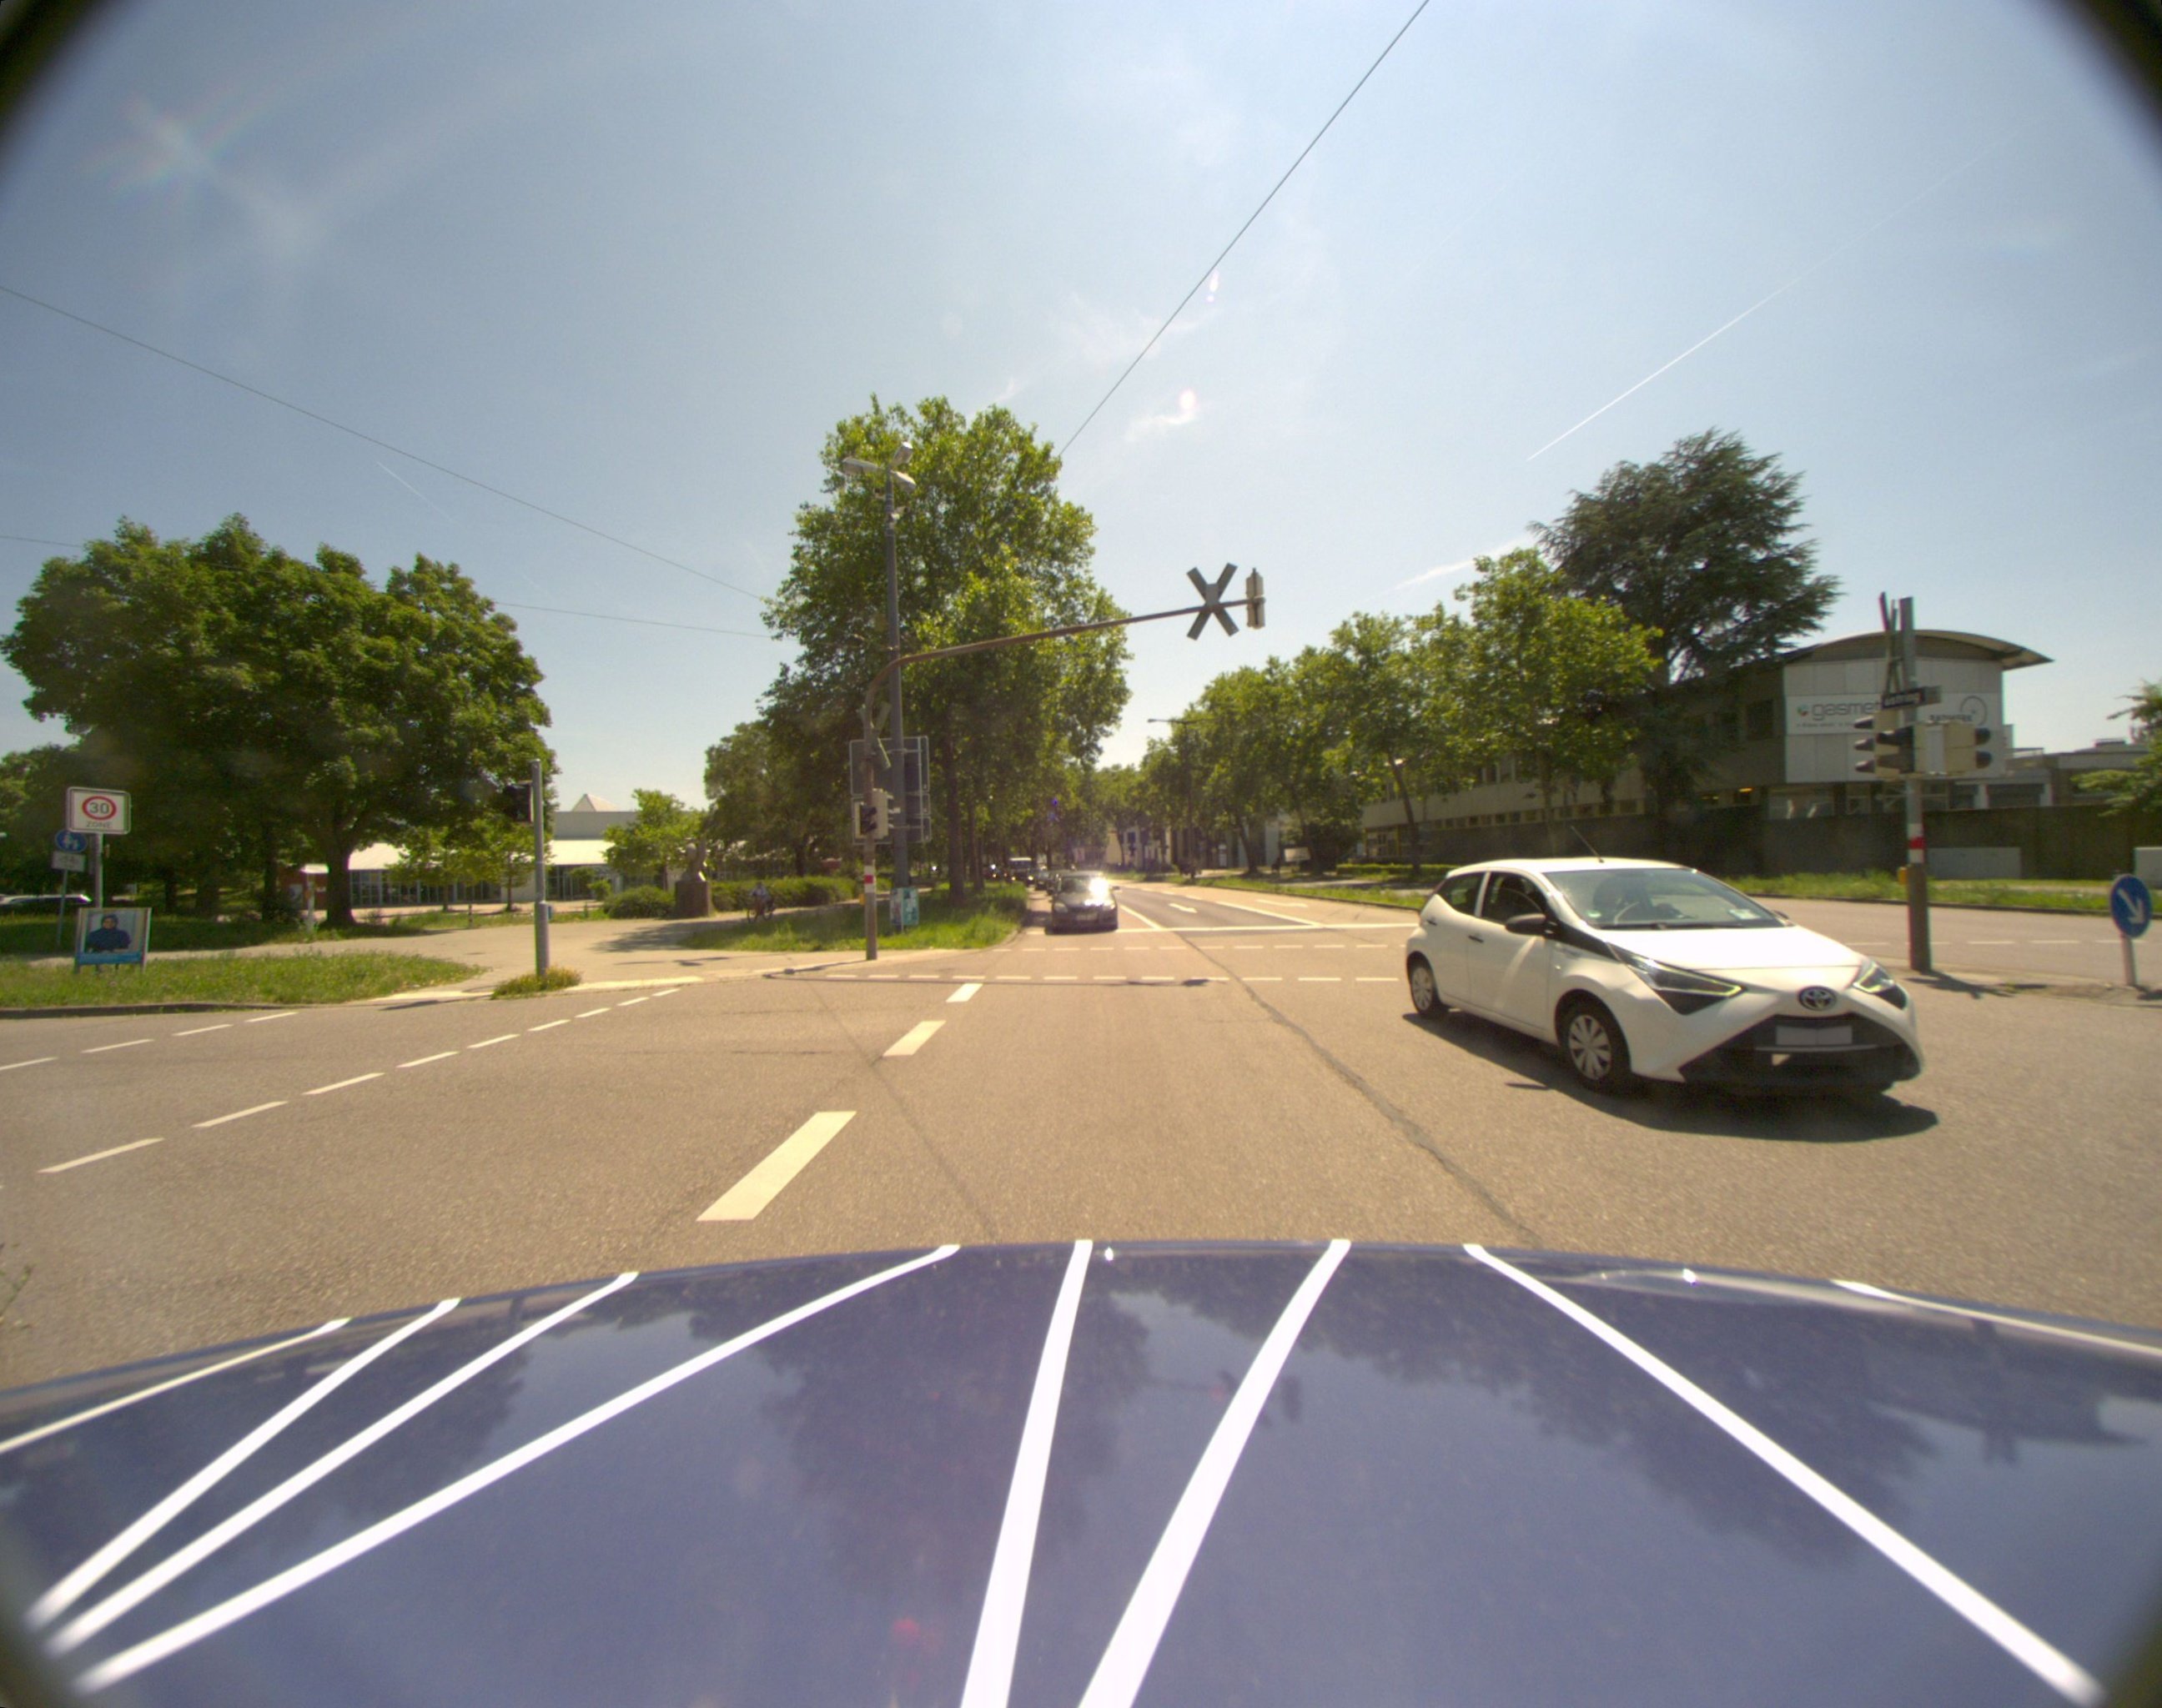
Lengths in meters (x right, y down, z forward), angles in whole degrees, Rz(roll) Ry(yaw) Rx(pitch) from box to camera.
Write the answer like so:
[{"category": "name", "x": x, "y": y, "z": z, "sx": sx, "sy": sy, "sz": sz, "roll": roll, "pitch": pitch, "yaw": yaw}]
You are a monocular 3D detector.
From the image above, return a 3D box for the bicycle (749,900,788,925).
[{"category": "bicycle", "x": -11.211, "y": 2.096, "z": 27.305, "sx": 0.464, "sy": 0.759, "sz": 1.670, "roll": -2, "pitch": -1, "yaw": 10}]

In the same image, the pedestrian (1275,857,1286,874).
[{"category": "pedestrian", "x": 18.062, "y": 1.030, "z": 68.940, "sx": 0.644, "sy": 1.551, "sz": 0.790, "roll": -2, "pitch": 0, "yaw": -11}]

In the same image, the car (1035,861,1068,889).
[{"category": "car", "x": -2.142, "y": 1.450, "z": 54.165, "sx": 2.000, "sy": 1.870, "sz": 3.998, "roll": -2, "pitch": 0, "yaw": -7}]

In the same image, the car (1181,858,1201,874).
[{"category": "car", "x": 11.810, "y": 1.259, "z": 81.172, "sx": 1.914, "sy": 1.669, "sz": 4.448, "roll": -2, "pitch": 0, "yaw": 11}]

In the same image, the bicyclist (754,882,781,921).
[{"category": "bicyclist", "x": -11.250, "y": 1.704, "z": 27.283, "sx": 0.600, "sy": 1.331, "sz": 0.667, "roll": -2, "pitch": 0, "yaw": 9}]

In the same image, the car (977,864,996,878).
[{"category": "car", "x": -13.513, "y": 2.427, "z": 108.383, "sx": 2.001, "sy": 1.827, "sz": 3.995, "roll": -2, "pitch": 0, "yaw": -15}]

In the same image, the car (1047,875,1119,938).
[{"category": "car", "x": 0.066, "y": 1.300, "z": 19.981, "sx": 1.654, "sy": 1.453, "sz": 3.866, "roll": -2, "pitch": -1, "yaw": 0}]

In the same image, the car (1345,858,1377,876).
[{"category": "car", "x": 28.565, "y": 1.330, "z": 77.671, "sx": 1.820, "sy": 1.637, "sz": 3.527, "roll": -3, "pitch": 0, "yaw": -2}]

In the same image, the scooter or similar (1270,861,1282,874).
[{"category": "scooter or similar", "x": 17.917, "y": 1.239, "z": 69.762, "sx": 0.680, "sy": 1.156, "sz": 0.858, "roll": -2, "pitch": 0, "yaw": -11}]

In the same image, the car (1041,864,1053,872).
[{"category": "car", "x": -6.527, "y": 2.623, "z": 145.778, "sx": 1.738, "sy": 1.450, "sz": 3.670, "roll": -2, "pitch": 0, "yaw": -12}]

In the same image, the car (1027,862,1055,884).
[{"category": "car", "x": -3.356, "y": 1.560, "z": 63.337, "sx": 2.000, "sy": 1.783, "sz": 3.998, "roll": -2, "pitch": 0, "yaw": -7}]

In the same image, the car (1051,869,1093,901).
[{"category": "car", "x": -0.410, "y": 1.438, "z": 36.007, "sx": 1.791, "sy": 1.324, "sz": 3.743, "roll": -3, "pitch": -1, "yaw": 0}]

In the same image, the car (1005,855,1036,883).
[{"category": "car", "x": -6.328, "y": 1.534, "z": 79.183, "sx": 2.919, "sy": 2.638, "sz": 6.363, "roll": -2, "pitch": 0, "yaw": -6}]

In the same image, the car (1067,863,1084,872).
[{"category": "car", "x": -0.931, "y": 2.320, "z": 127.904, "sx": 1.860, "sy": 1.410, "sz": 4.543, "roll": -2, "pitch": -1, "yaw": -12}]

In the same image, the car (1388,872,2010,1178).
[{"category": "car", "x": 3.835, "y": 0.900, "z": 5.635, "sx": 1.623, "sy": 1.437, "sz": 3.652, "roll": -2, "pitch": 0, "yaw": 0}]

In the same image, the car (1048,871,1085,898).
[{"category": "car", "x": -0.884, "y": 1.727, "z": 44.238, "sx": 1.879, "sy": 1.447, "sz": 3.784, "roll": 2, "pitch": -1, "yaw": -5}]

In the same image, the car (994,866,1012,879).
[{"category": "car", "x": -9.978, "y": 2.316, "z": 96.787, "sx": 2.000, "sy": 1.608, "sz": 3.997, "roll": -2, "pitch": 0, "yaw": -10}]
